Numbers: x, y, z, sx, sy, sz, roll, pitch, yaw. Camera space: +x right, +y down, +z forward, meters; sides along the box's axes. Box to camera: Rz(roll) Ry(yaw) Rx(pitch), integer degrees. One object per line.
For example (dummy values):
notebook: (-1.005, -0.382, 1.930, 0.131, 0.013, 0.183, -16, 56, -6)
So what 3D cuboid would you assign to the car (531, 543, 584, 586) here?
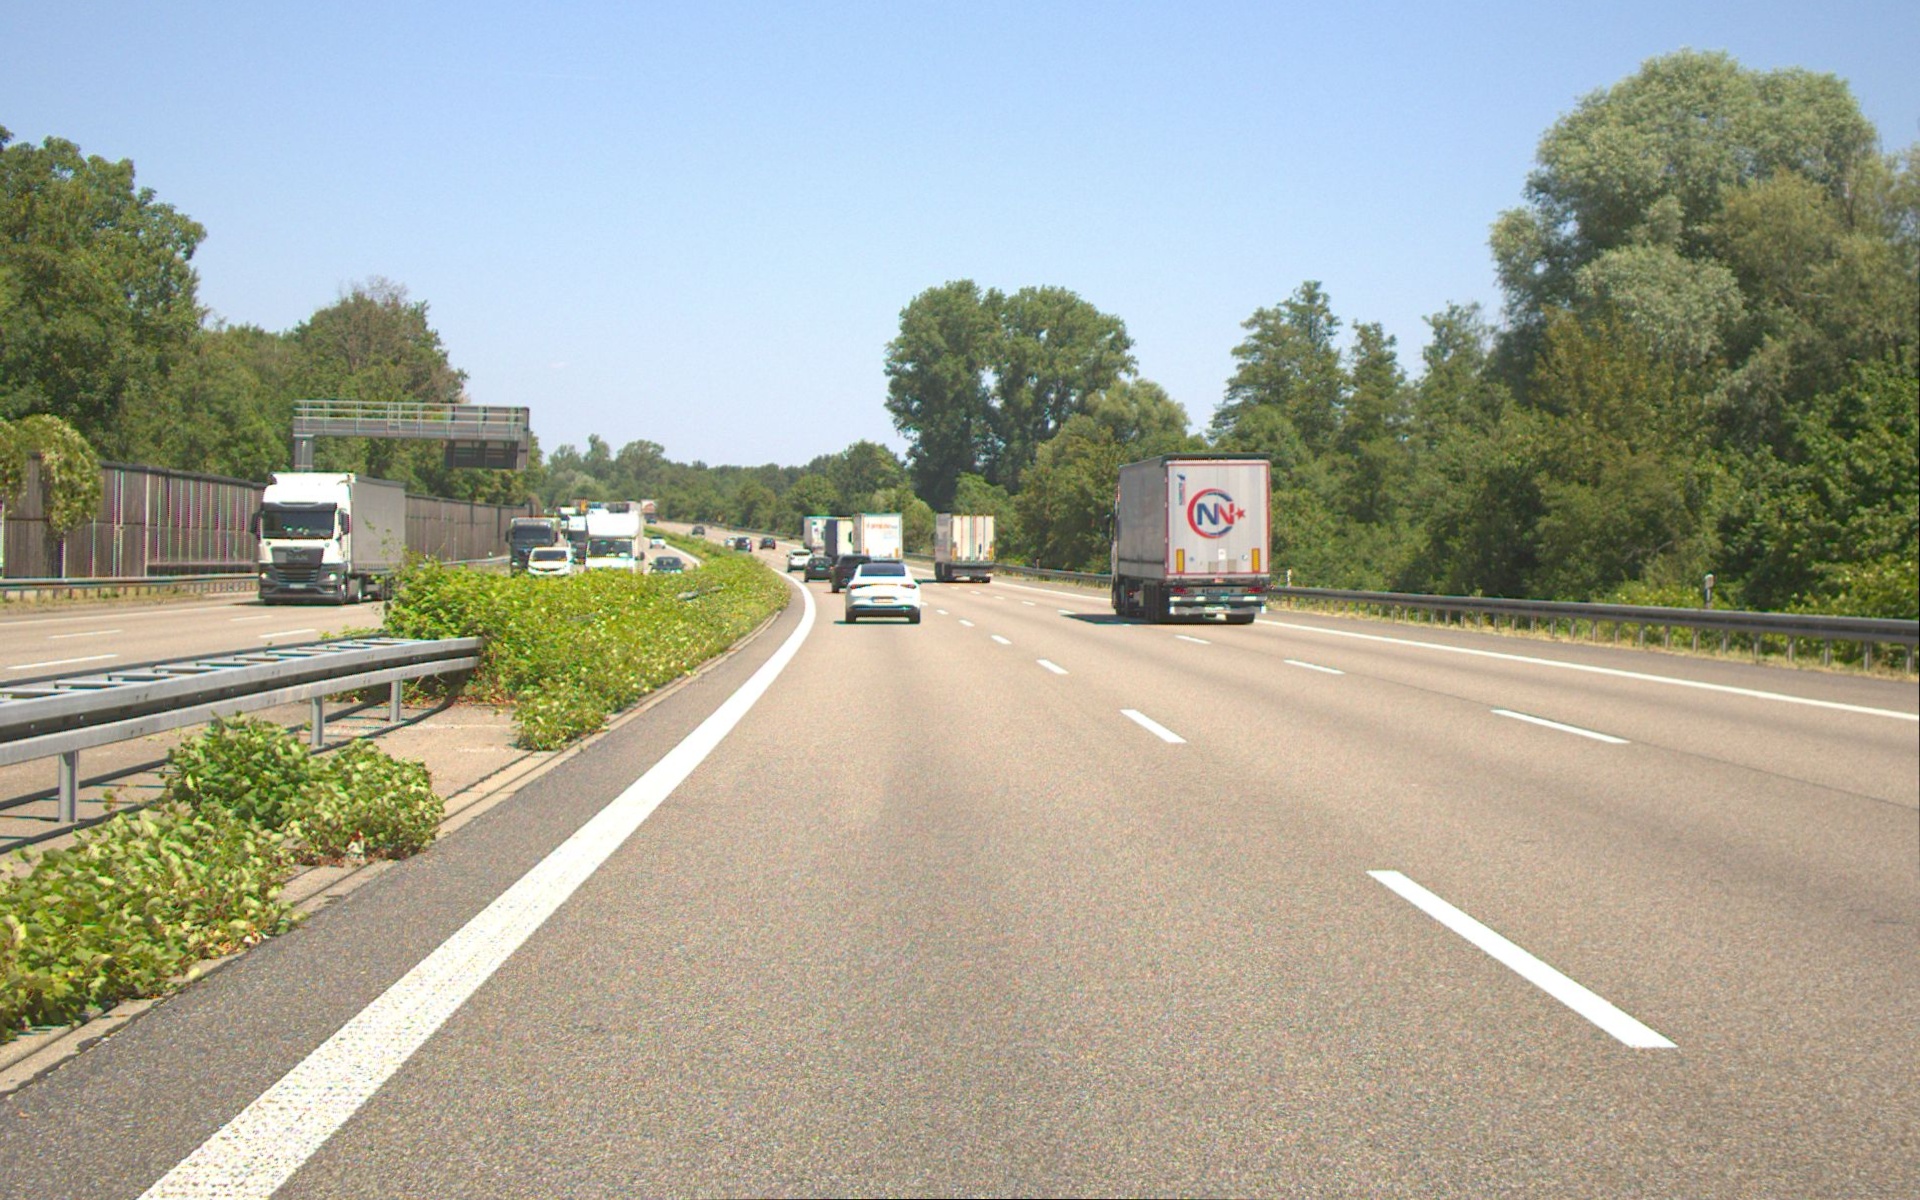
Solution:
car: (-17.211, -1.533, 147.073, 1.867, 1.814, 4.817, 1, 1, -2)

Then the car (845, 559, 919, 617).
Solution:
car: (-1.895, -0.314, 84.339, 1.715, 1.365, 3.375, 1, 1, 0)

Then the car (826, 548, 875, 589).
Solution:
car: (-4.865, -1.394, 152.697, 1.993, 1.766, 4.001, 0, 1, -4)

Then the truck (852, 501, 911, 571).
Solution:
truck: (-5.072, -4.080, 220.136, 3.359, 4.296, 10.830, 1, 1, -3)

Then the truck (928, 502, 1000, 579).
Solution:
truck: (0.184, -3.458, 200.772, 3.492, 4.296, 10.990, 1, 1, -3)

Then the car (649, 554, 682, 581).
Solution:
car: (-15.373, -1.687, 179.645, 1.625, 1.385, 3.914, 0, 1, -3)

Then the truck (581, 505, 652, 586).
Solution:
truck: (-13.598, -2.160, 136.578, 2.193, 3.104, 8.535, 1, 1, -2)

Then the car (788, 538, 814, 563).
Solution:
car: (-11.544, -3.584, 249.439, 1.723, 1.777, 4.001, 0, 1, -5)

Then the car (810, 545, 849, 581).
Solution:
car: (-7.486, -2.114, 196.425, 1.993, 2.007, 4.001, 0, 1, -5)

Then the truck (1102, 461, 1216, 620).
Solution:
truck: (5.489, -1.656, 95.632, 2.605, 4.272, 5.436, 1, 1, -2)

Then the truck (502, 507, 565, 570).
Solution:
truck: (-25.141, -3.582, 203.006, 2.870, 3.593, 9.953, 1, 1, -2)

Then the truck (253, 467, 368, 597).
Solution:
truck: (-20.008, -2.092, 106.156, 2.686, 3.881, 5.574, 1, 1, -2)

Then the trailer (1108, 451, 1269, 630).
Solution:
trailer: (5.753, -1.531, 89.031, 2.624, 4.246, 14.062, 1, 1, -2)
